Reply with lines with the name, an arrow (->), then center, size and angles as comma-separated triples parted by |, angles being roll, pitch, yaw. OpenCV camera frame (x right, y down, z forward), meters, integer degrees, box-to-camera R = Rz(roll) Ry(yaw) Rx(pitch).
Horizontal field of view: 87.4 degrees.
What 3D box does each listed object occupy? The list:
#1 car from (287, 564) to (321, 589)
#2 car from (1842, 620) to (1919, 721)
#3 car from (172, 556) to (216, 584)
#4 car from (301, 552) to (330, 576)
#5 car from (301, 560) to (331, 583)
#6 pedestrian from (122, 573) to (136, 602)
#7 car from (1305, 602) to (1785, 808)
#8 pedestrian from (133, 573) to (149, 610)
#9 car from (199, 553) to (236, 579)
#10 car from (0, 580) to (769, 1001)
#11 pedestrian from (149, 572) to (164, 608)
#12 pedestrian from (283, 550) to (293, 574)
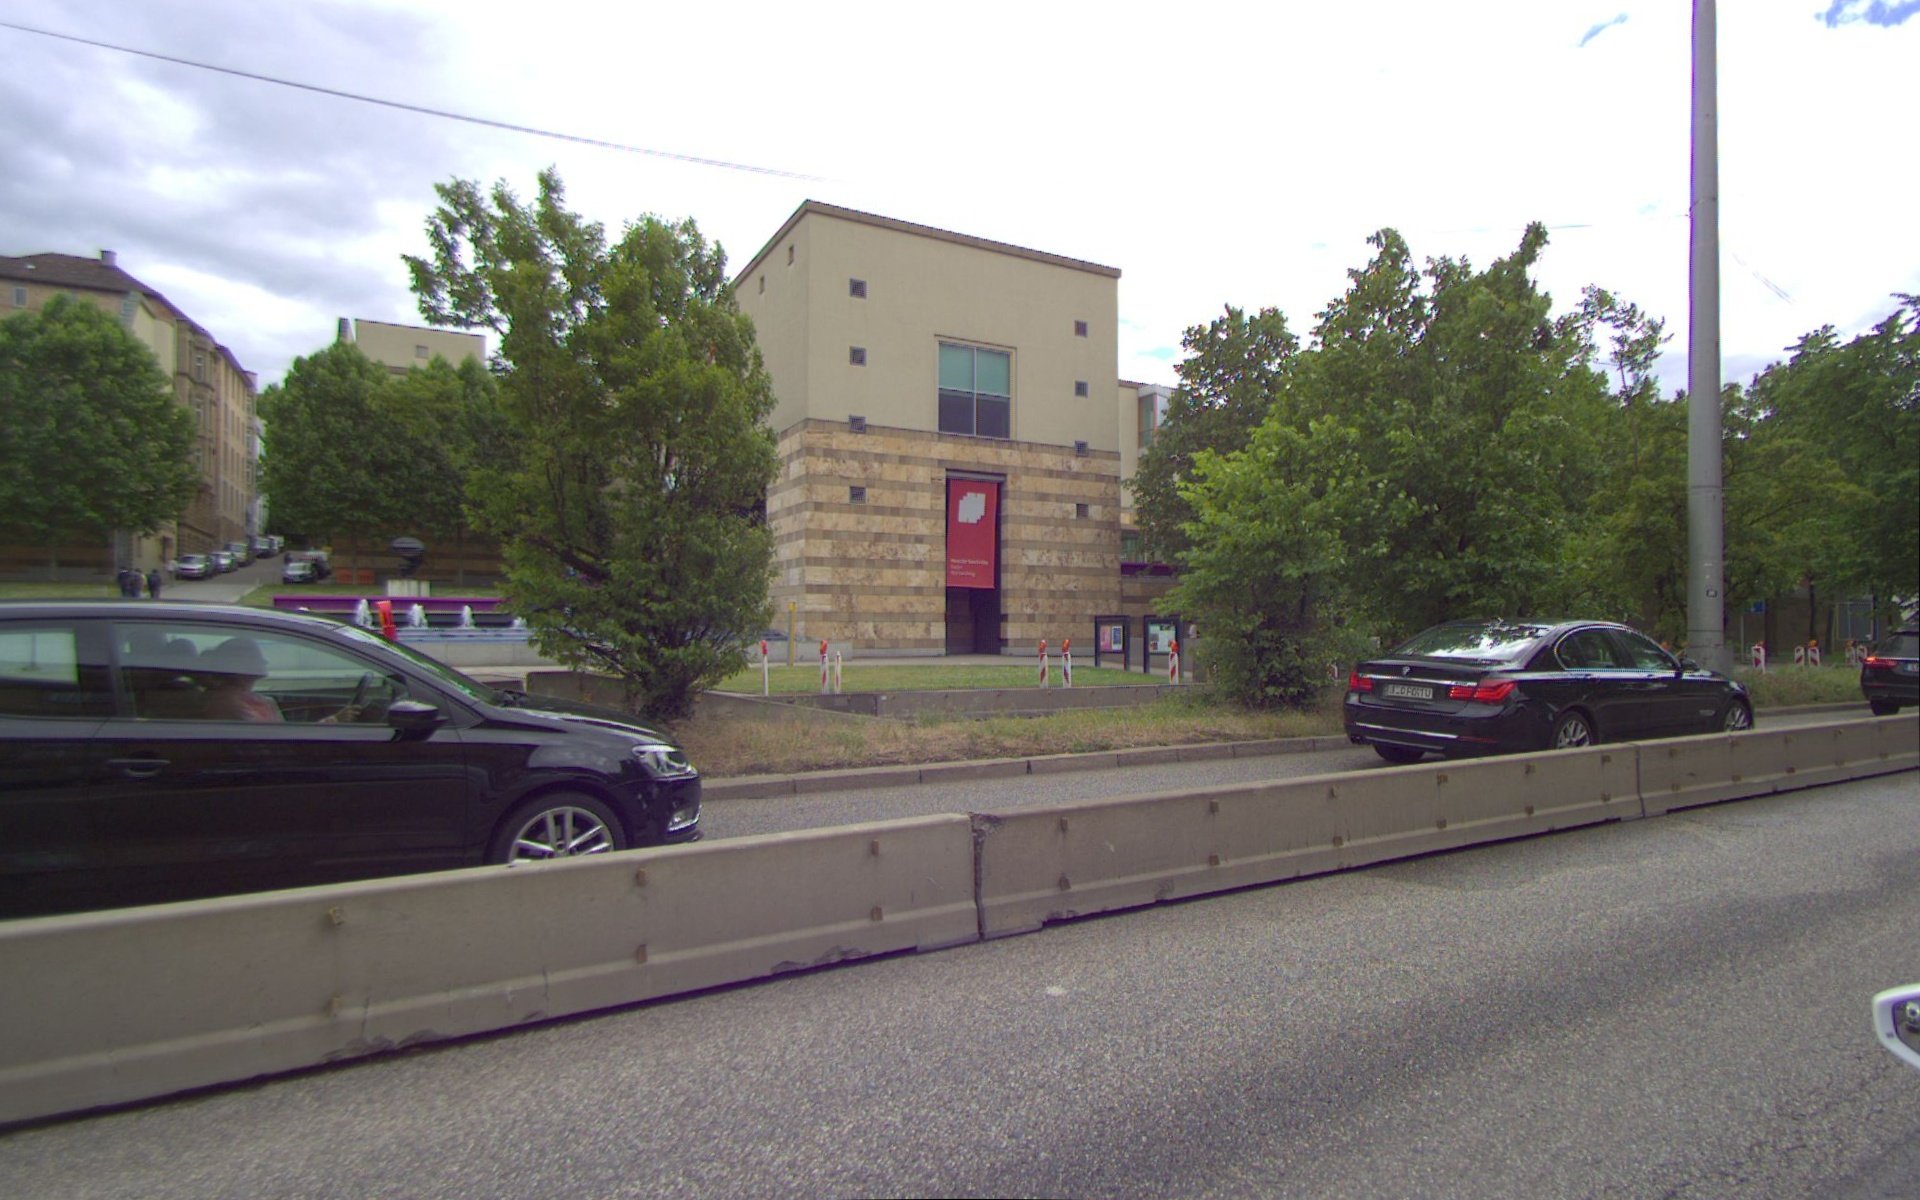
car -> -43.788, -1.553, 67.105 | 1.591, 1.557, 3.778 | 2, 0, -29
car -> 16.434, 1.103, 16.247 | 4.711, 1.519, 1.808 | 1, -1, -29
car -> -52.563, -2.050, 68.986 | 1.589, 1.822, 3.783 | 1, 0, -26
car -> -50.407, -2.782, 78.580 | 1.591, 1.822, 3.778 | 2, 0, -29
car -> -46.676, -2.055, 72.833 | 1.591, 1.557, 3.778 | 2, 0, -29
pedestrian -> -41.598, -0.609, 50.273 | 0.472, 1.441, 0.402 | 1, 0, -31
car -> 5.945, 0.900, 10.079 | 4.875, 1.658, 1.916 | 1, -1, -28
pedestrian -> -39.818, -0.397, 48.852 | 0.472, 1.772, 0.642 | 1, 0, -30
car -> -56.103, -2.552, 75.940 | 1.590, 1.822, 3.781 | 1, 0, -27
car -> -3.153, 0.684, 4.644 | 4.154, 1.473, 1.649 | 1, -1, -34
pedestrian -> -39.341, -0.480, 49.196 | 0.472, 1.772, 0.642 | 1, 0, -30
pedestrian -> -51.804, -2.900, 77.392 | 0.535, 1.808, 0.464 | 2, -1, -26
